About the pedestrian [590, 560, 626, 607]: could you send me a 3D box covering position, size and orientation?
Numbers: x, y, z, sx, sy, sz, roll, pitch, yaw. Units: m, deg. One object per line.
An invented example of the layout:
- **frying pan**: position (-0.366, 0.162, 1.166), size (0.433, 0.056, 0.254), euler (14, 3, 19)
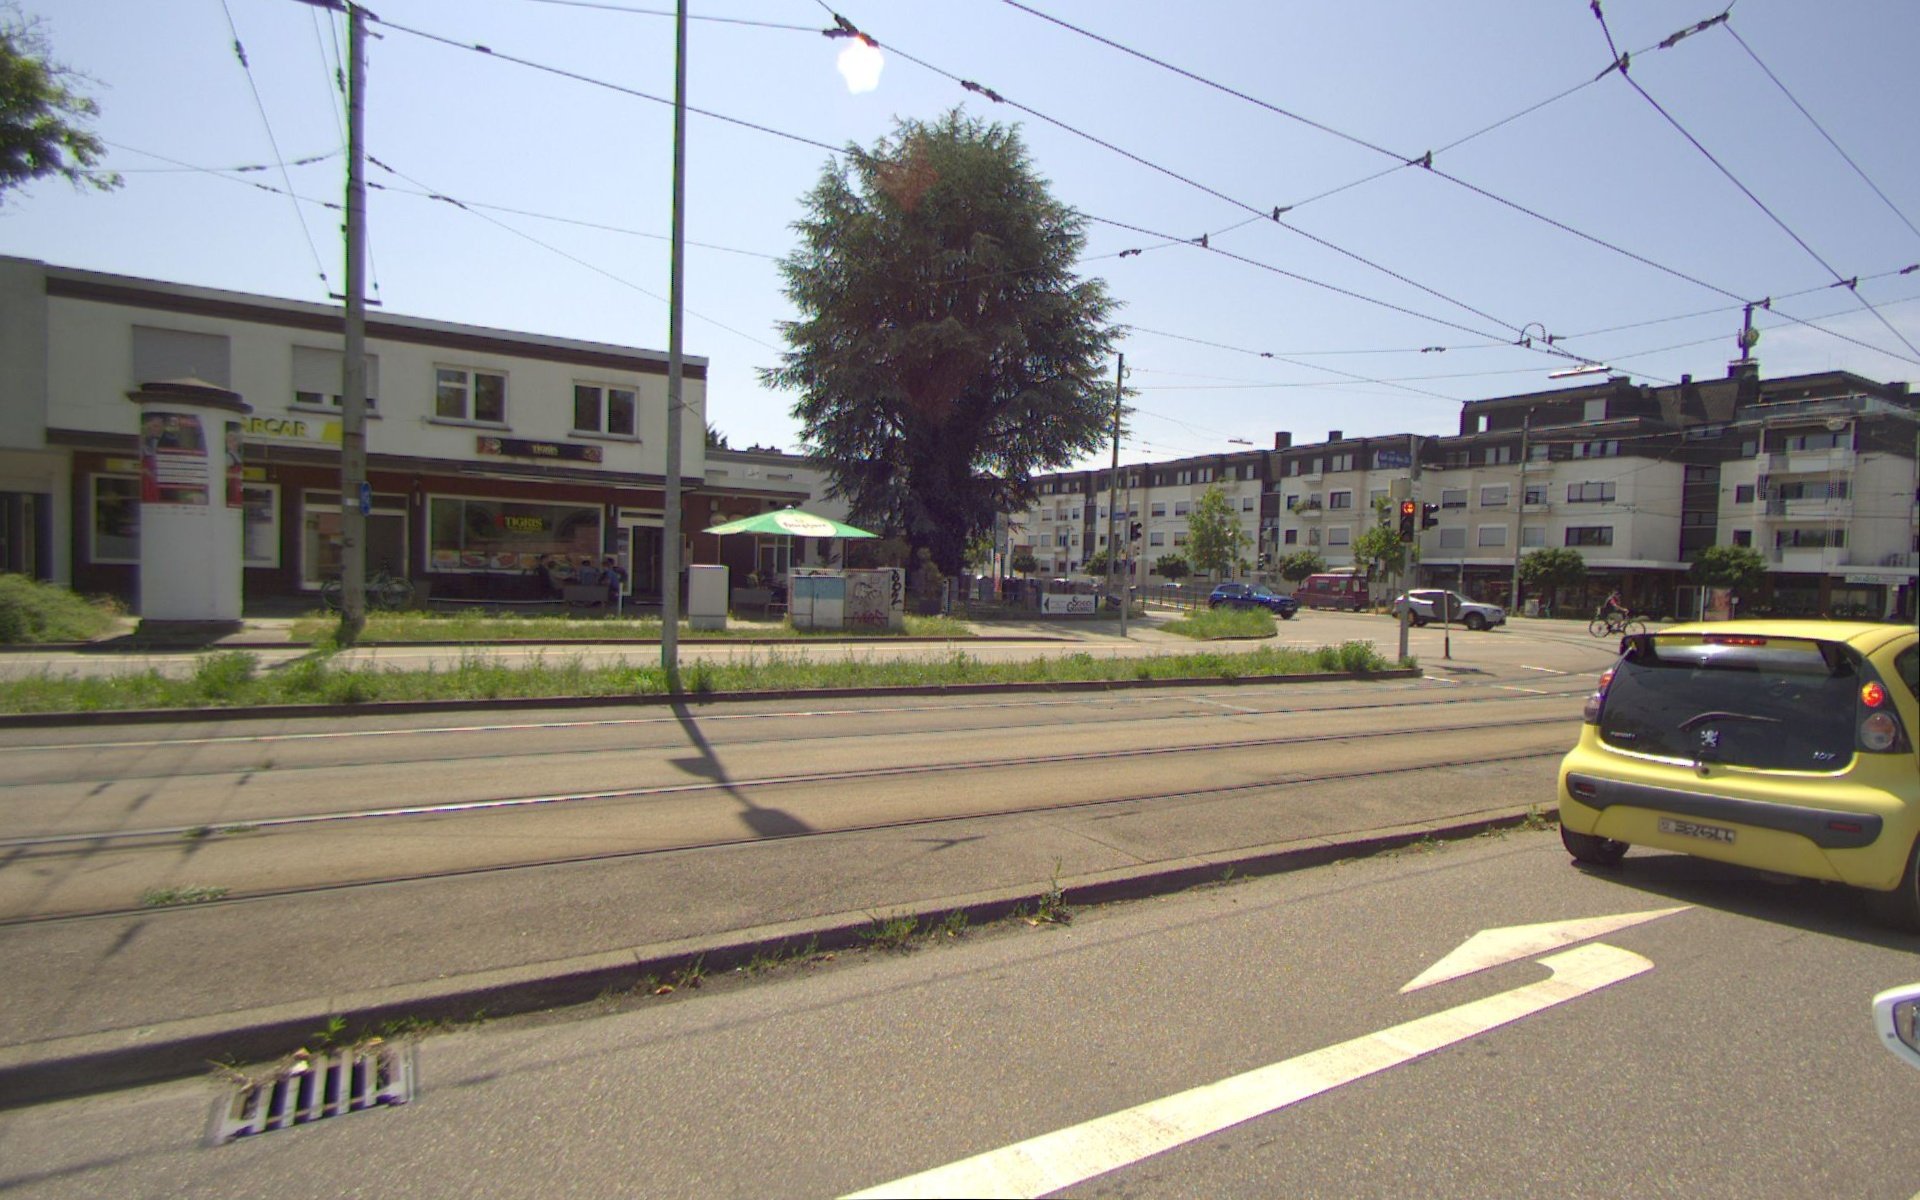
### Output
- **pedestrian**: position (-9.873, -0.459, 28.147), size (0.832, 1.285, 0.586), euler (2, 0, -30)

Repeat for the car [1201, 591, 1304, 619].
- **car**: position (14.283, 0.236, 49.293), size (1.919, 1.253, 4.741), euler (2, 0, -33)

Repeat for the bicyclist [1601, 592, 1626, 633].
- **bicyclist**: position (25.060, 0.476, 38.527), size (0.741, 1.521, 0.480), euler (2, 0, 39)

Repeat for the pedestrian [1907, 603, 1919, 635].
- **pedestrian**: position (54.001, 1.067, 56.680), size (0.598, 1.777, 0.506), euler (2, 0, 16)

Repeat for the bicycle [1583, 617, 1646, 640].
- **bicycle**: position (25.068, 1.095, 38.498), size (1.956, 0.793, 0.464), euler (2, 0, 40)

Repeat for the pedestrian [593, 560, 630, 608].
- **pedestrian**: position (-9.579, -0.428, 27.584), size (0.832, 1.285, 0.586), euler (2, 0, -30)

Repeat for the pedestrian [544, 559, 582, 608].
- **pedestrian**: position (-10.640, -0.433, 26.917), size (0.832, 1.285, 0.586), euler (2, 0, -30)

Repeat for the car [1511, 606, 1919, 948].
- **car**: position (5.034, 0.786, 5.936), size (3.254, 1.464, 1.715), euler (1, 0, -31)

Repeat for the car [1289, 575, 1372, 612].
- **car**: position (25.435, -0.457, 69.078), size (2.219, 2.372, 5.038), euler (2, 0, -31)

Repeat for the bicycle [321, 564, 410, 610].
- **bicycle**: position (-13.716, -0.297, 23.212), size (1.738, 0.992, 0.536), euler (2, 0, -30)

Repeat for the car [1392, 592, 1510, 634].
- **car**: position (20.562, 0.531, 42.155), size (4.091, 1.605, 1.930), euler (2, 0, 41)

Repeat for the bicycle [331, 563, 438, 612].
- **bicycle**: position (-12.705, -0.269, 22.219), size (2.006, 0.992, 0.607), euler (2, 0, -30)

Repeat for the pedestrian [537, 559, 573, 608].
- **pedestrian**: position (-11.091, -0.444, 27.507), size (0.832, 1.285, 0.586), euler (2, 0, -30)
